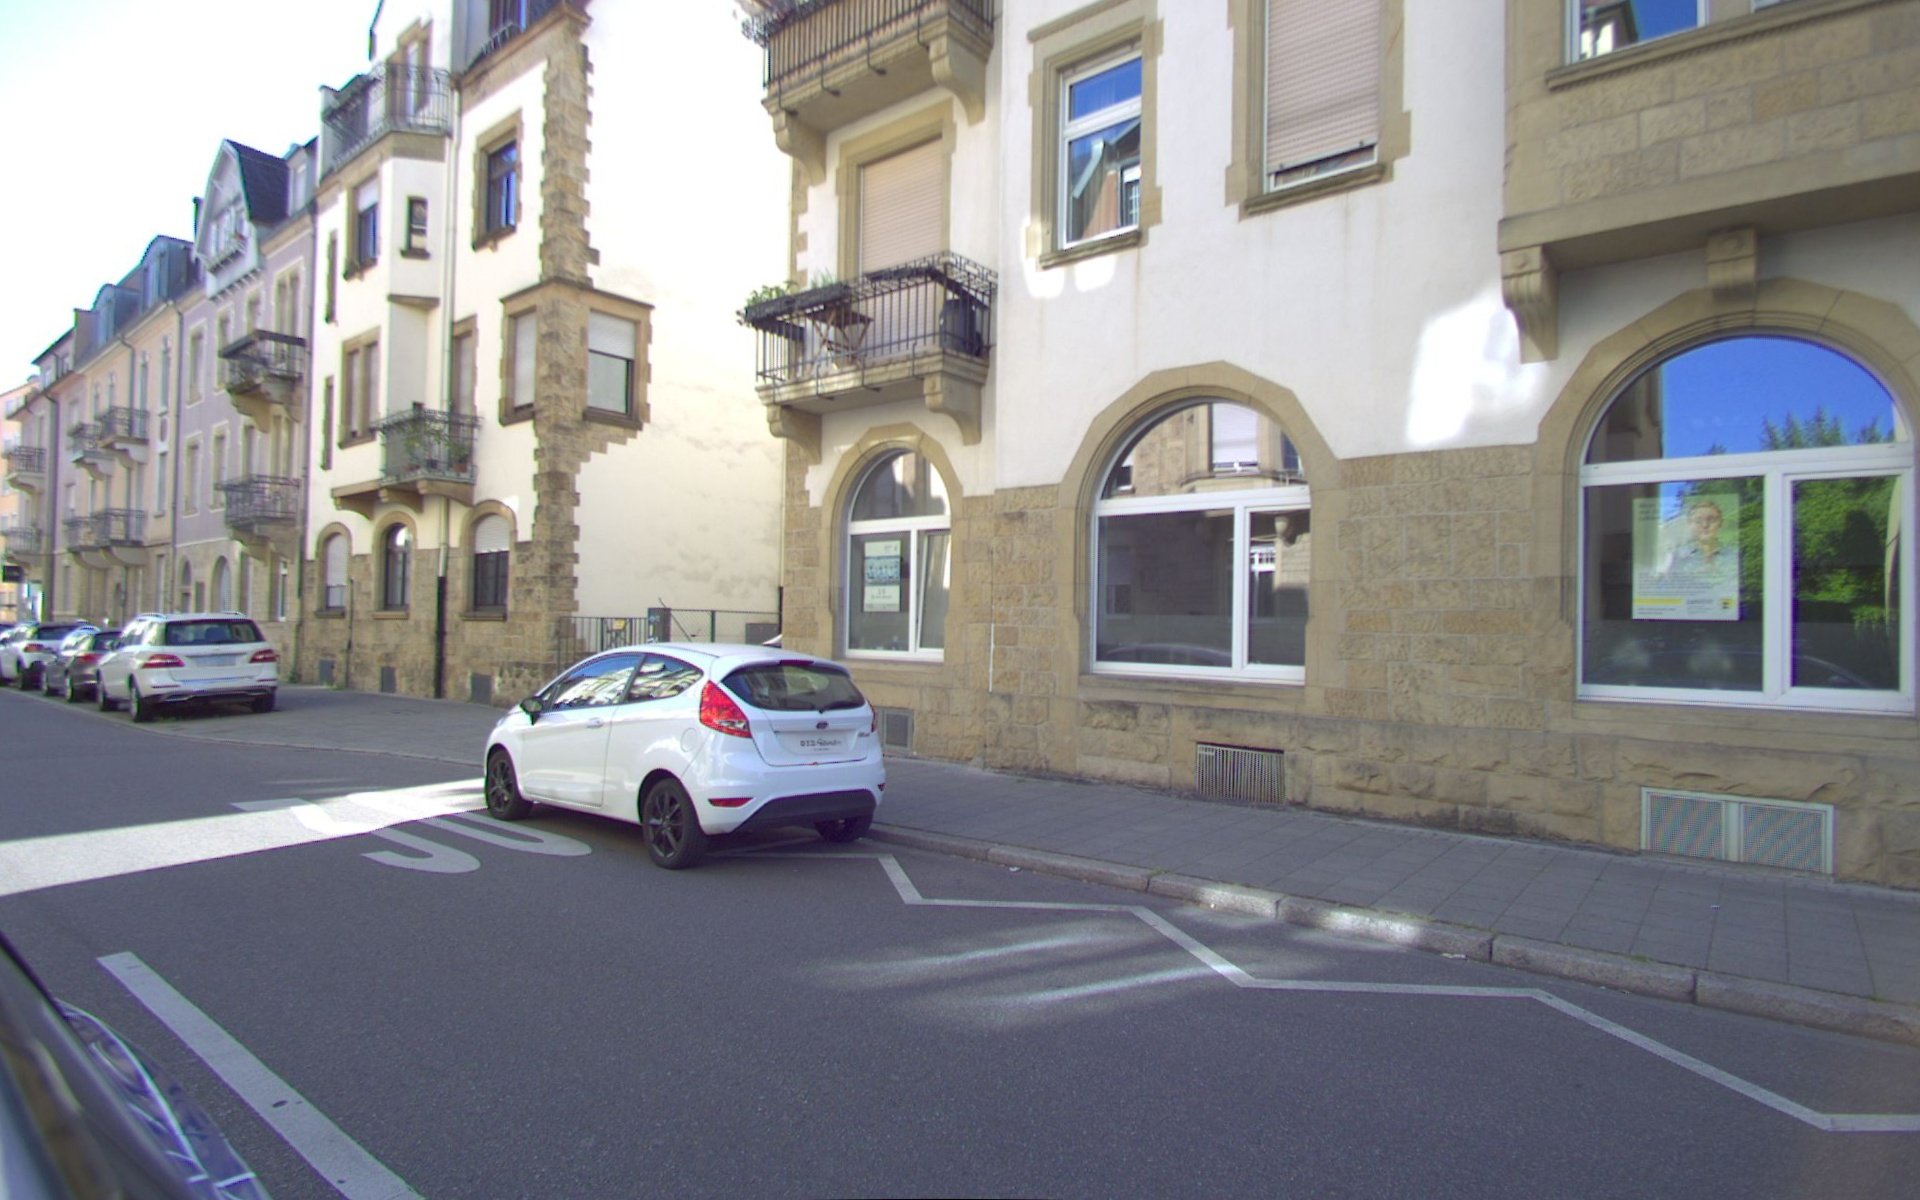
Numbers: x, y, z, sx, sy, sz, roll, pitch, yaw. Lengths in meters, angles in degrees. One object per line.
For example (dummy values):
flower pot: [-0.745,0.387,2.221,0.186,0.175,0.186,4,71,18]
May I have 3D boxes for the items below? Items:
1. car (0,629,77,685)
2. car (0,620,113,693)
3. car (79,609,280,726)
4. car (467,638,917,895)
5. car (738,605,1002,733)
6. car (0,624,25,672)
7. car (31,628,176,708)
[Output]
car: [-26.430,1.558,28.407,3.658,1.404,1.658,-1,0,35]
car: [-22.418,1.334,24.825,4.015,1.595,1.698,-1,0,38]
car: [-13.715,1.085,17.670,4.723,1.735,1.872,-1,0,41]
car: [-2.219,1.052,7.848,3.734,1.475,1.616,-1,-2,43]
car: [-1.297,1.028,15.914,1.908,1.741,3.928,-2,-3,40]
car: [-32.630,1.581,33.661,3.718,1.550,1.698,-1,-2,38]
car: [-18.137,1.359,21.372,4.275,1.498,1.558,-1,-1,39]
